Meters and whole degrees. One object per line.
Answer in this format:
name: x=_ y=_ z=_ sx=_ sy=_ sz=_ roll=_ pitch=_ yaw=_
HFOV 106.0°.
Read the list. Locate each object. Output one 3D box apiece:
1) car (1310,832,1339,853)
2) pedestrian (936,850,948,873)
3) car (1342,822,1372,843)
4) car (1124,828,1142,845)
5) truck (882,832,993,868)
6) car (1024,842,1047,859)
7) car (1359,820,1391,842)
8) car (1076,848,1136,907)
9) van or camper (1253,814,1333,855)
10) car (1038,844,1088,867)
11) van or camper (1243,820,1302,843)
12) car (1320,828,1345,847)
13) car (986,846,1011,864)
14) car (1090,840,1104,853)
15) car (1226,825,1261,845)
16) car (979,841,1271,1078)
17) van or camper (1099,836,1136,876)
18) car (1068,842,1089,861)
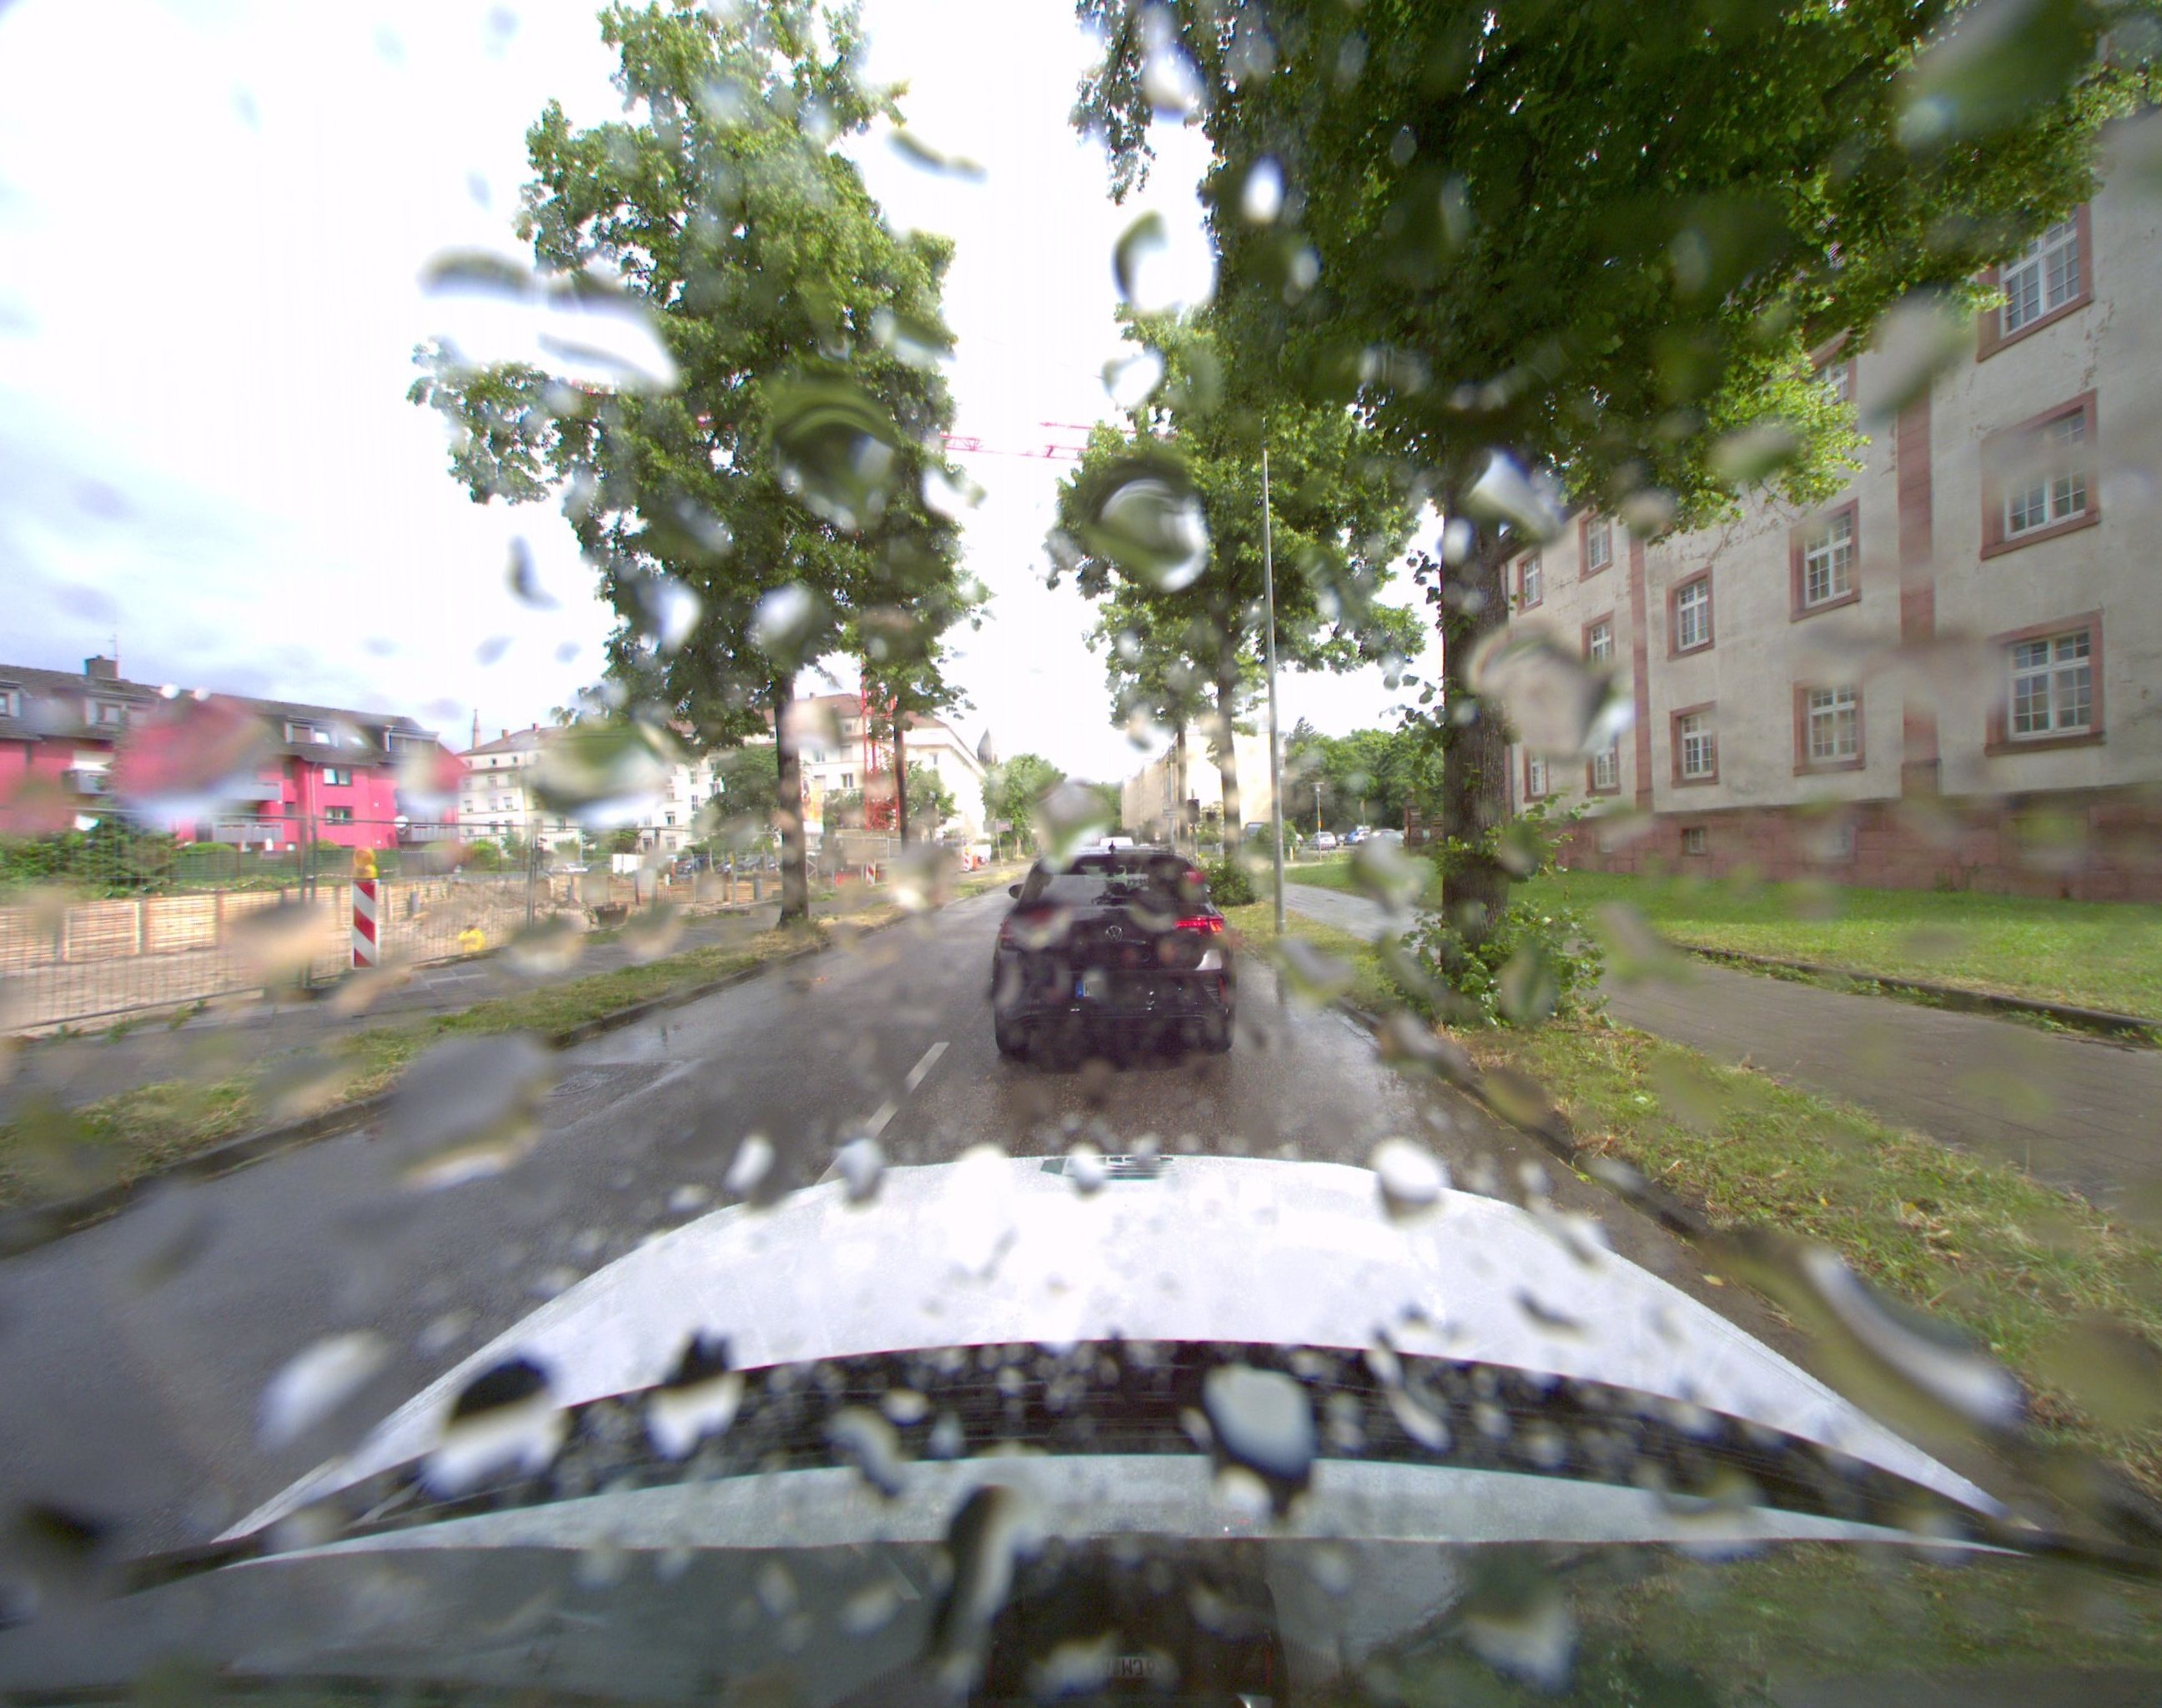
car: x=21.095 y=-1.009 z=70.579 sx=1.733 sy=1.683 sz=3.879 roll=-5 pitch=0 yaw=8
pedestrian: x=-9.125 y=0.508 z=53.460 sx=0.663 sy=1.485 sz=0.668 roll=-2 pitch=1 yaw=-23
car: x=29.126 y=-2.284 z=85.944 sx=1.984 sy=2.013 sz=4.007 roll=-5 pitch=0 yaw=6
car: x=6.571 y=-2.223 z=103.164 sx=1.986 sy=2.013 sz=4.002 roll=-2 pitch=0 yaw=2
truck: x=-11.432 y=-0.323 z=65.080 sx=8.154 sy=2.656 sz=2.826 roll=-1 pitch=1 yaw=14
car: x=-4.653 y=-0.377 z=83.709 sx=1.582 sy=1.512 sz=3.740 roll=-5 pitch=1 yaw=8
car: x=29.053 y=-2.262 z=80.605 sx=1.984 sy=2.013 sz=4.007 roll=-5 pitch=0 yaw=6
car: x=0.920 y=0.737 z=27.623 sx=1.672 sy=1.708 sz=3.915 roll=-4 pitch=0 yaw=5
van or camper: x=14.843 y=-1.374 z=57.262 sx=5.016 sy=2.595 sz=2.168 roll=-3 pitch=0 yaw=0
car: x=-1.601 y=0.137 z=71.339 sx=3.947 sy=1.650 sz=1.743 roll=-5 pitch=0 yaw=-29
van or camper: x=17.526 y=-2.067 z=74.698 sx=4.856 sy=1.925 sz=2.133 roll=-1 pitch=1 yaw=2
car: x=28.350 y=-1.840 z=91.754 sx=1.858 sy=1.856 sz=3.816 roll=-5 pitch=0 yaw=6
car: x=-8.210 y=0.094 z=81.565 sx=1.582 sy=1.512 sz=3.740 roll=-5 pitch=1 yaw=8
car: x=2.005 y=-0.947 z=104.416 sx=1.586 sy=1.512 sz=3.732 roll=-5 pitch=1 yaw=1
car: x=16.861 y=-1.951 z=84.567 sx=3.386 sy=1.781 sz=1.765 roll=-5 pitch=0 yaw=10
car: x=0.362 y=0.676 z=7.380 sx=1.887 sy=1.522 sz=4.002 roll=-1 pitch=1 yaw=2
van or camper: x=1.926 y=0.054 z=42.901 sx=1.812 sy=1.947 sz=4.199 roll=-1 pitch=1 yaw=3
car: x=-0.273 y=-0.248 z=82.679 sx=1.785 sy=1.683 sz=4.480 roll=-5 pitch=1 yaw=-4
